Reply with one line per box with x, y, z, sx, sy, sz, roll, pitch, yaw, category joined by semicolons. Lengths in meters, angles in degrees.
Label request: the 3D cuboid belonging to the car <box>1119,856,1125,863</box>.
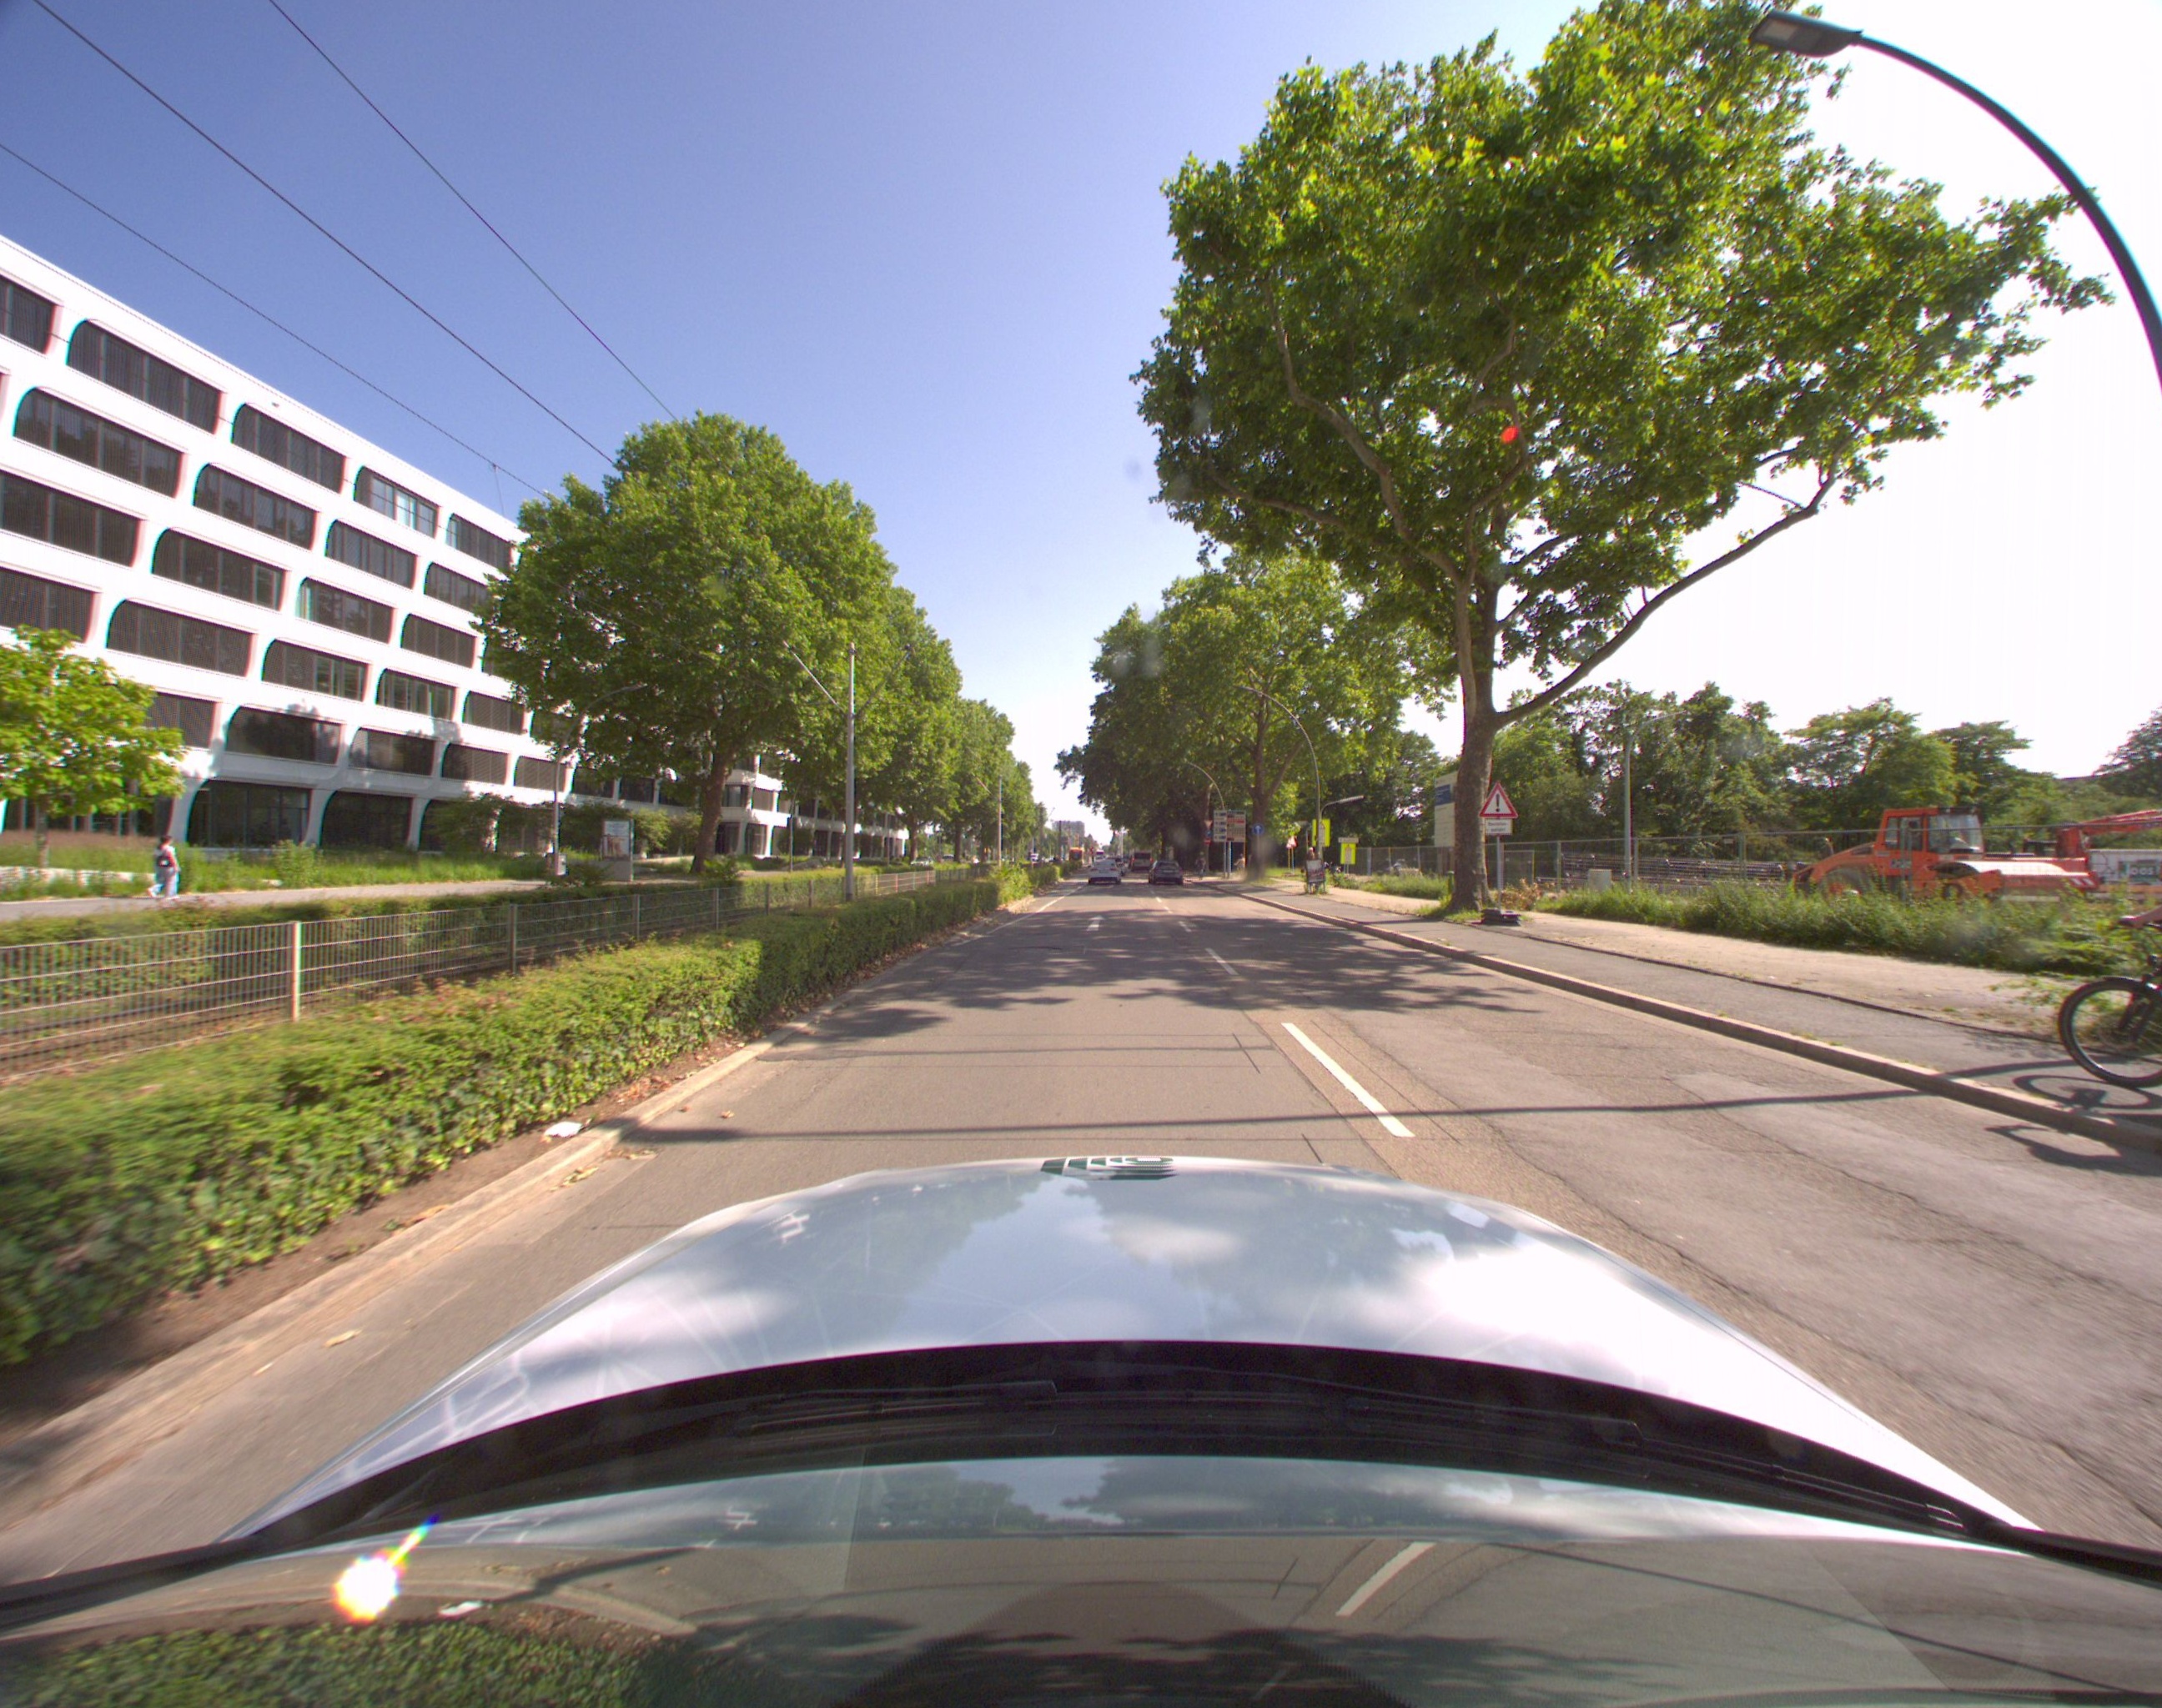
10.901;1.404;217.513;1.722;1.901;4.002;1;0;2;car

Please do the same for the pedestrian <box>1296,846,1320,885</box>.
11.245;0.552;40.366;0.935;1.892;1.152;1;0;2;pedestrian

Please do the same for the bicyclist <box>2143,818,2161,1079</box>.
6.923;0.574;4.691;0.618;1.600;0.732;-1;0;0;bicyclist

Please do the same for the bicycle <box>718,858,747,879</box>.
-19.443;0.797;45.478;0.661;1.124;2.032;1;0;3;bicycle

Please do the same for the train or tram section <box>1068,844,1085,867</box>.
-0.768;0.209;148.130;2.606;4.015;7.754;1;0;3;train or tram section

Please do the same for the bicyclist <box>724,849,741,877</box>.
-19.445;0.478;45.463;0.652;1.535;0.641;1;0;2;bicyclist

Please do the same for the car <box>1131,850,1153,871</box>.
6.429;0.672;86.233;2.221;2.212;4.164;1;0;2;car

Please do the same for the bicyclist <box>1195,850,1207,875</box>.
7.911;0.557;53.873;0.632;1.648;0.980;-2;1;1;bicyclist

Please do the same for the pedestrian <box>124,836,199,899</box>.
-23.784;0.349;21.090;0.717;1.588;1.015;1;-1;2;pedestrian

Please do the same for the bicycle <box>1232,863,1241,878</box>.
11.481;1.204;60.119;0.348;1.082;1.700;1;0;2;bicycle

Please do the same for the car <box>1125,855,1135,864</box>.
10.529;1.185;173.814;2.064;1.999;4.060;1;0;2;car

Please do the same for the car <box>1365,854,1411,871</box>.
26.719;0.773;70.876;4.014;1.454;1.667;1;0;-32;car

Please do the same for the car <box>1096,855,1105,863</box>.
3.823;0.940;157.209;1.722;1.631;4.002;1;0;2;car

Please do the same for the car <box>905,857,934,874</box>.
-14.860;1.041;75.078;1.749;1.570;4.021;1;0;2;car

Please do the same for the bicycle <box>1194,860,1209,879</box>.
7.936;1.000;53.815;0.712;1.148;2.179;-2;2;1;bicycle

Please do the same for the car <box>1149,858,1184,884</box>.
4.909;0.962;47.314;1.775;1.420;4.002;1;0;2;car

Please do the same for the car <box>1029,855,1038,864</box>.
-13.100;1.488;225.191;2.106;2.383;4.003;1;0;3;car

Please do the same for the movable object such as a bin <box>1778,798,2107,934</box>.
22.230;0.266;21.577;2.362;3.072;5.983;1;0;-1;movable object such as a bin

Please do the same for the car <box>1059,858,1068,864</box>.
-4.727;1.944;220.657;1.985;1.734;4.003;1;0;3;car

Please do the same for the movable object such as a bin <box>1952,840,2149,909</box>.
44.659;0.923;37.671;5.156;2.975;3.296;1;0;2;movable object such as a bin

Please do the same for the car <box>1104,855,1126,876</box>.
2.769;0.923;66.809;1.722;1.605;3.887;1;0;2;car

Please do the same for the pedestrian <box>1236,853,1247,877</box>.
11.868;0.809;60.262;0.629;1.785;0.875;1;-1;2;pedestrian

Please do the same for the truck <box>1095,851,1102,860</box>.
5.650;0.557;260.836;1.985;2.790;8.524;1;0;3;truck

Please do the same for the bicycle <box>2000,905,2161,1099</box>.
6.940;0.935;4.894;0.649;1.129;1.946;-1;0;2;bicycle

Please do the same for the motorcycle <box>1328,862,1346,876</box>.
19.255;1.128;61.287;1.217;0.967;0.470;1;0;-5;motorcycle

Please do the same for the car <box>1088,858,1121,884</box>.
1.355;0.939;46.293;1.777;1.420;3.887;1;0;2;car
